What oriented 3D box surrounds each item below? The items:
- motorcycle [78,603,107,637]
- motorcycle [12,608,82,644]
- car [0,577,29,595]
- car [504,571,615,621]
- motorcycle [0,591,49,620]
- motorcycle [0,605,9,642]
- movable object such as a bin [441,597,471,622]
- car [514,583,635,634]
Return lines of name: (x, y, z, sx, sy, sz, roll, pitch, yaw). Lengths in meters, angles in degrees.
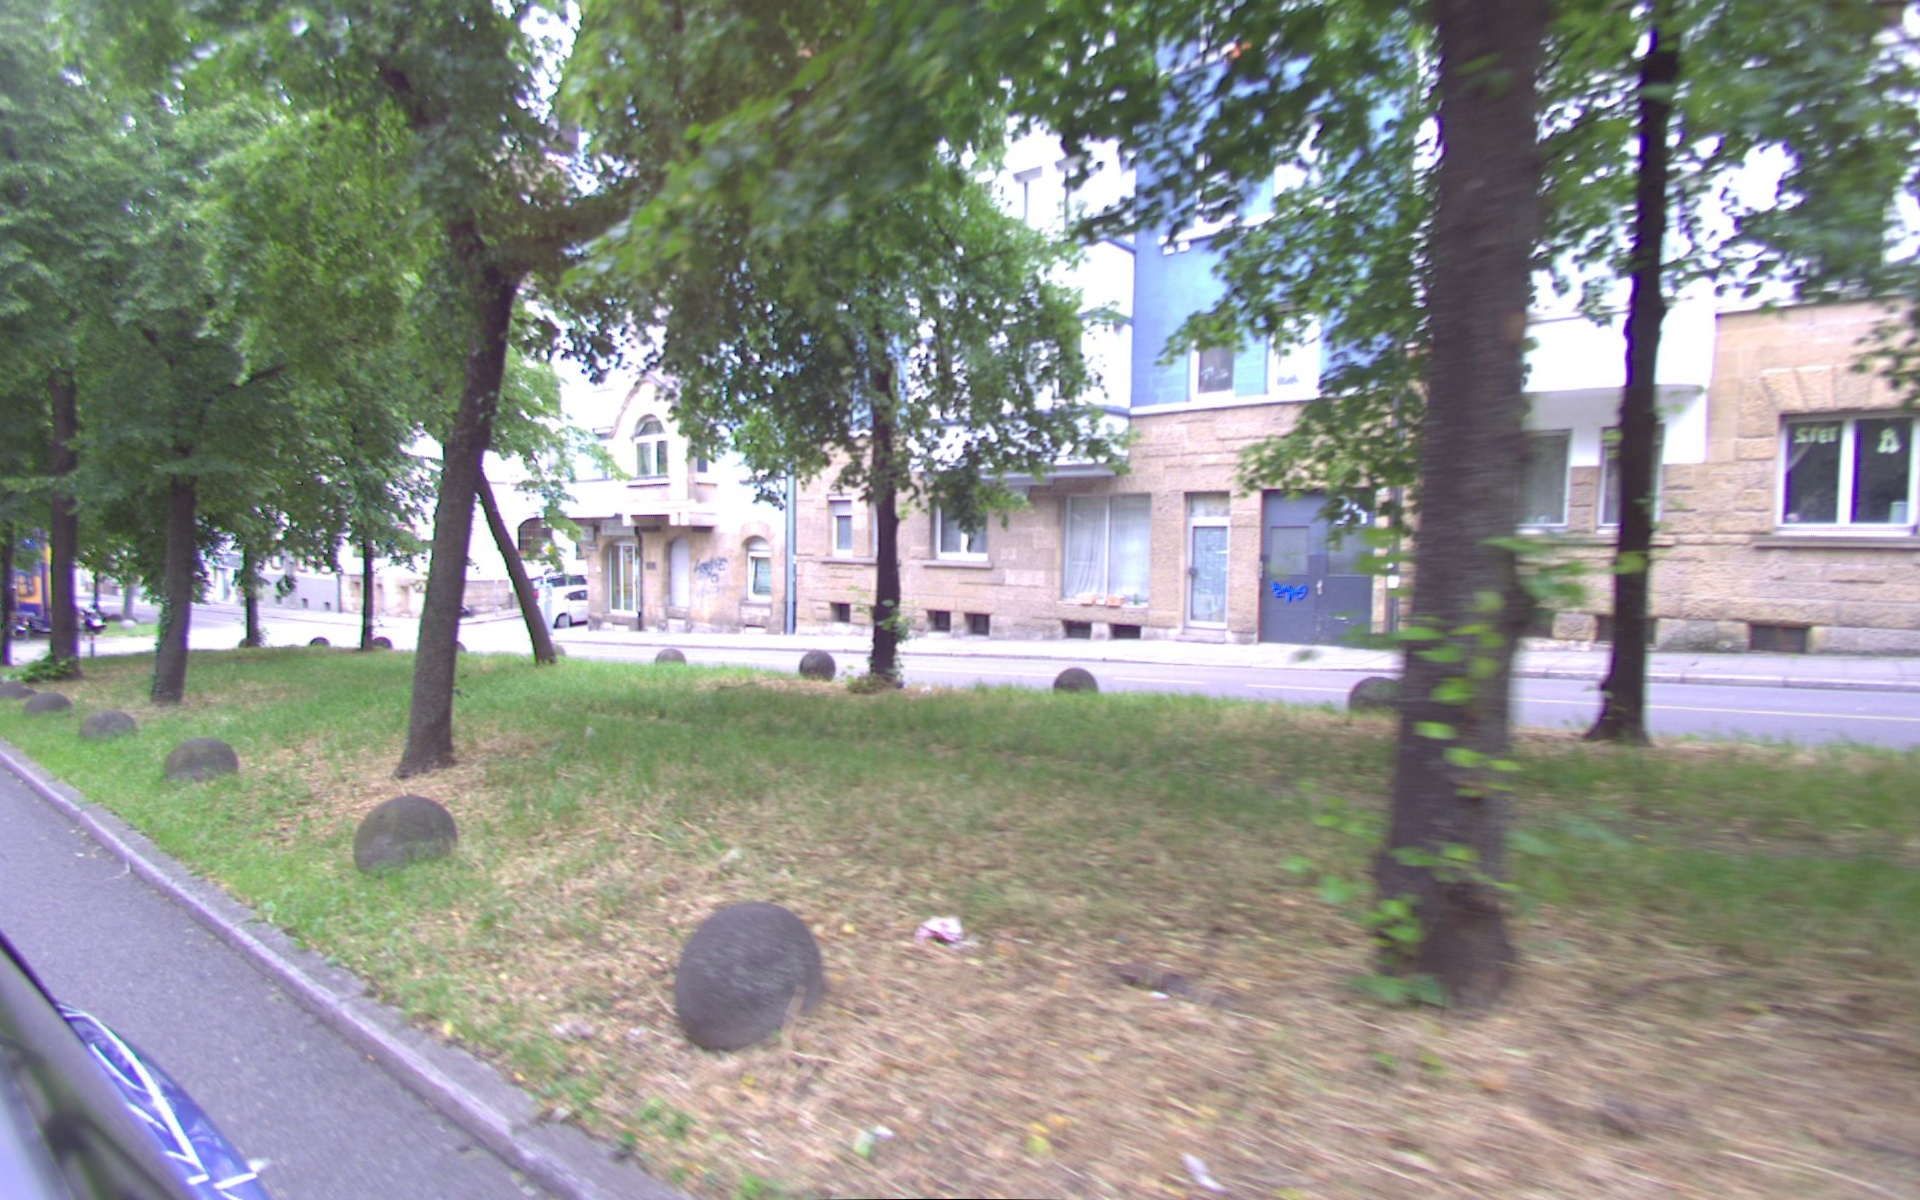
motorcycle: (-31.434, 0.722, 36.664, 0.740, 1.081, 1.854, -3, 5, -42)
motorcycle: (-30.988, 0.869, 34.366, 0.551, 1.104, 1.712, 3, 5, 44)
car: (-82.300, -1.212, 87.788, 4.253, 1.575, 1.795, 0, 2, 41)
car: (-17.371, -0.230, 43.982, 1.871, 1.711, 3.957, 1, 8, 41)
motorcycle: (-51.565, 0.300, 55.437, 0.963, 1.494, 2.393, 4, 3, 41)
motorcycle: (-33.200, 0.803, 34.610, 0.876, 1.104, 2.485, -3, 5, -42)
movable object such as a bin: (-21.580, 0.388, 43.326, 0.667, 1.000, 0.877, 1, 4, 39)
car: (-14.975, 0.274, 39.471, 1.869, 1.480, 3.961, 3, 8, 38)
